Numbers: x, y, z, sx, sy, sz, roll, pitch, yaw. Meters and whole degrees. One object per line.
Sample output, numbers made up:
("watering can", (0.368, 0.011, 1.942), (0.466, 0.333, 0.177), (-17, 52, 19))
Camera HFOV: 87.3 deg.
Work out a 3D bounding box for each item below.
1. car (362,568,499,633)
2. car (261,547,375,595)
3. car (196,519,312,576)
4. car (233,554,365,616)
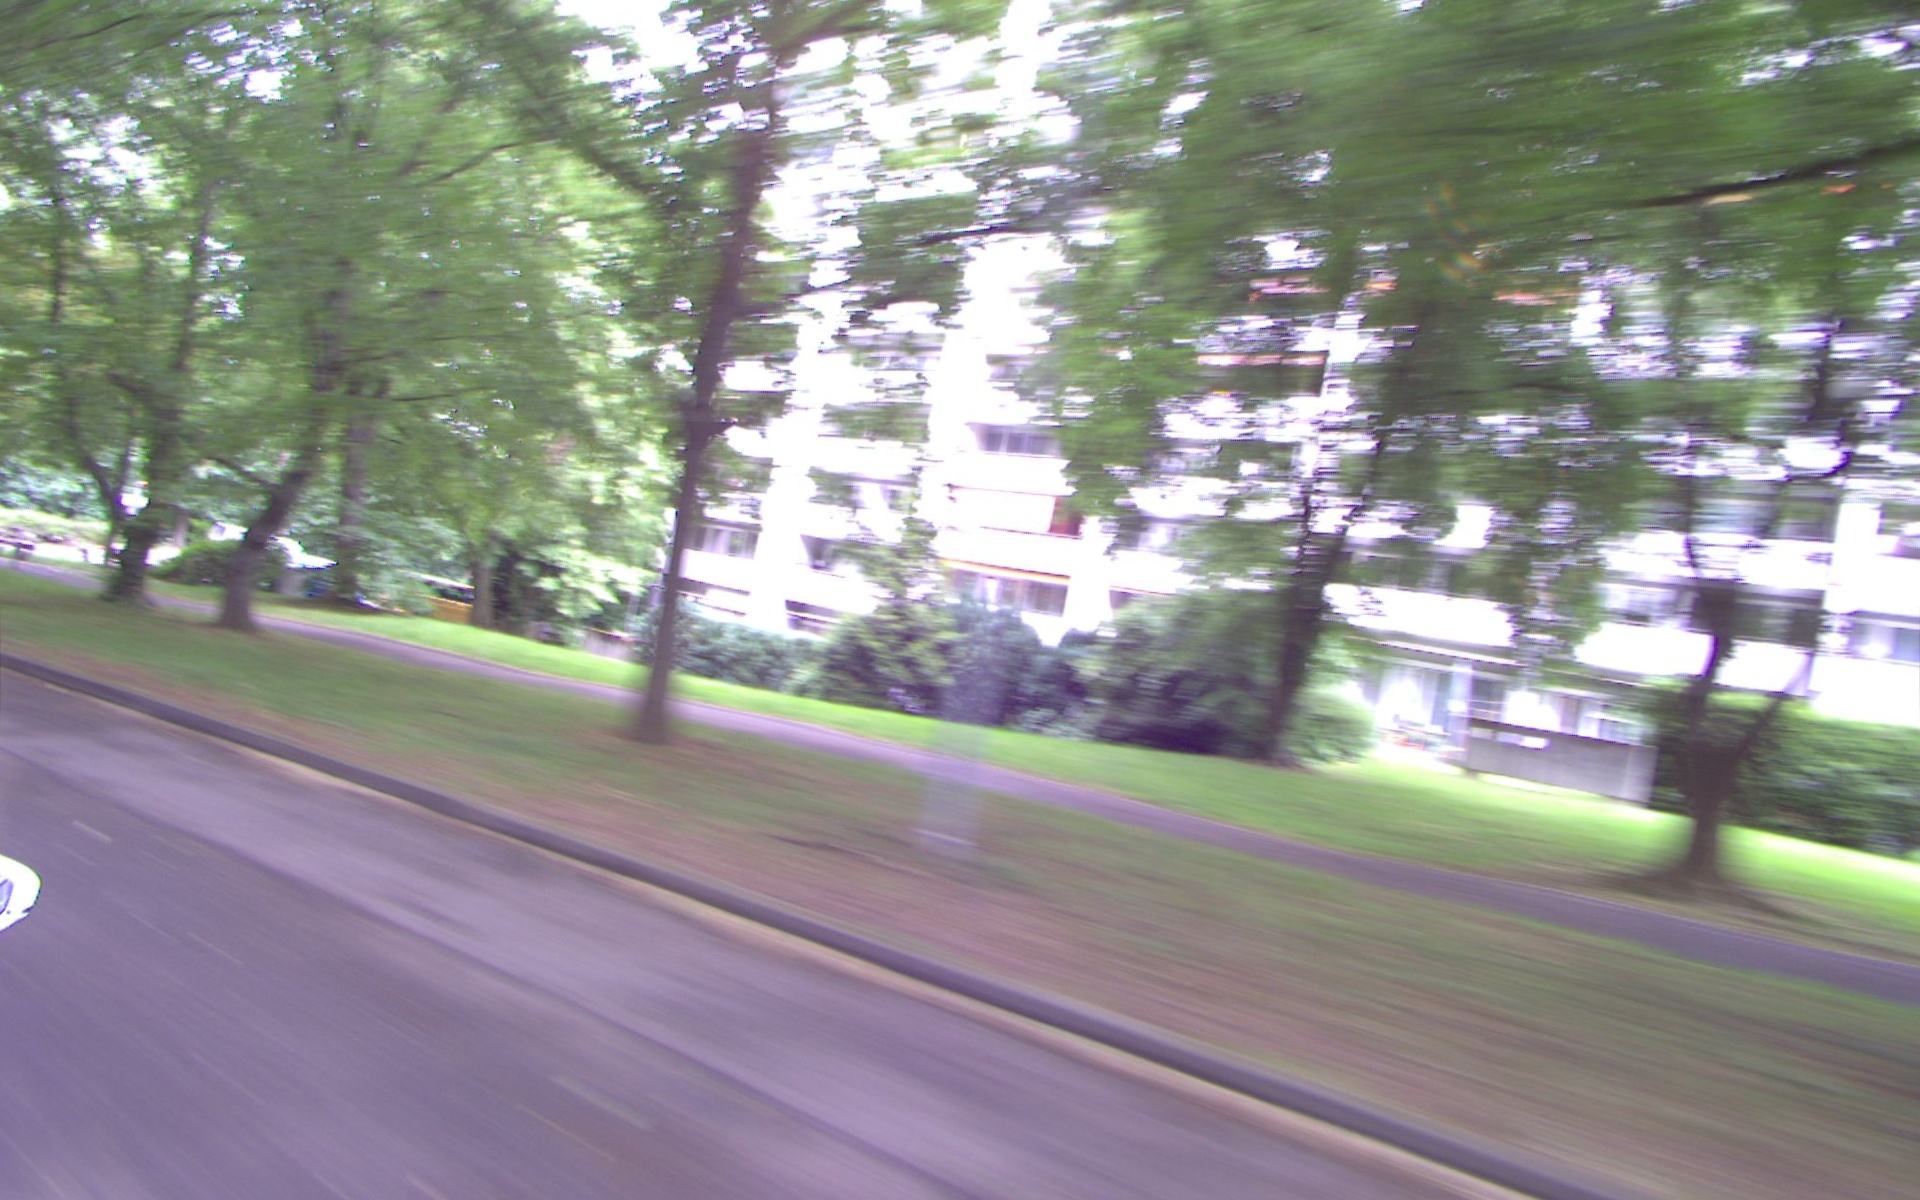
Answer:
("car", (-21.384, 0.054, 40.825), (1.803, 1.868, 4.406), (8, -4, 35))
("car", (-31.163, -1.377, 48.931), (1.770, 1.515, 4.218), (7, -3, 31))
("car", (-35.934, -2.646, 51.318), (1.966, 2.035, 4.218), (7, -3, 31))
("car", (-24.226, -0.529, 36.961), (1.805, 1.587, 3.521), (8, -4, 38))
